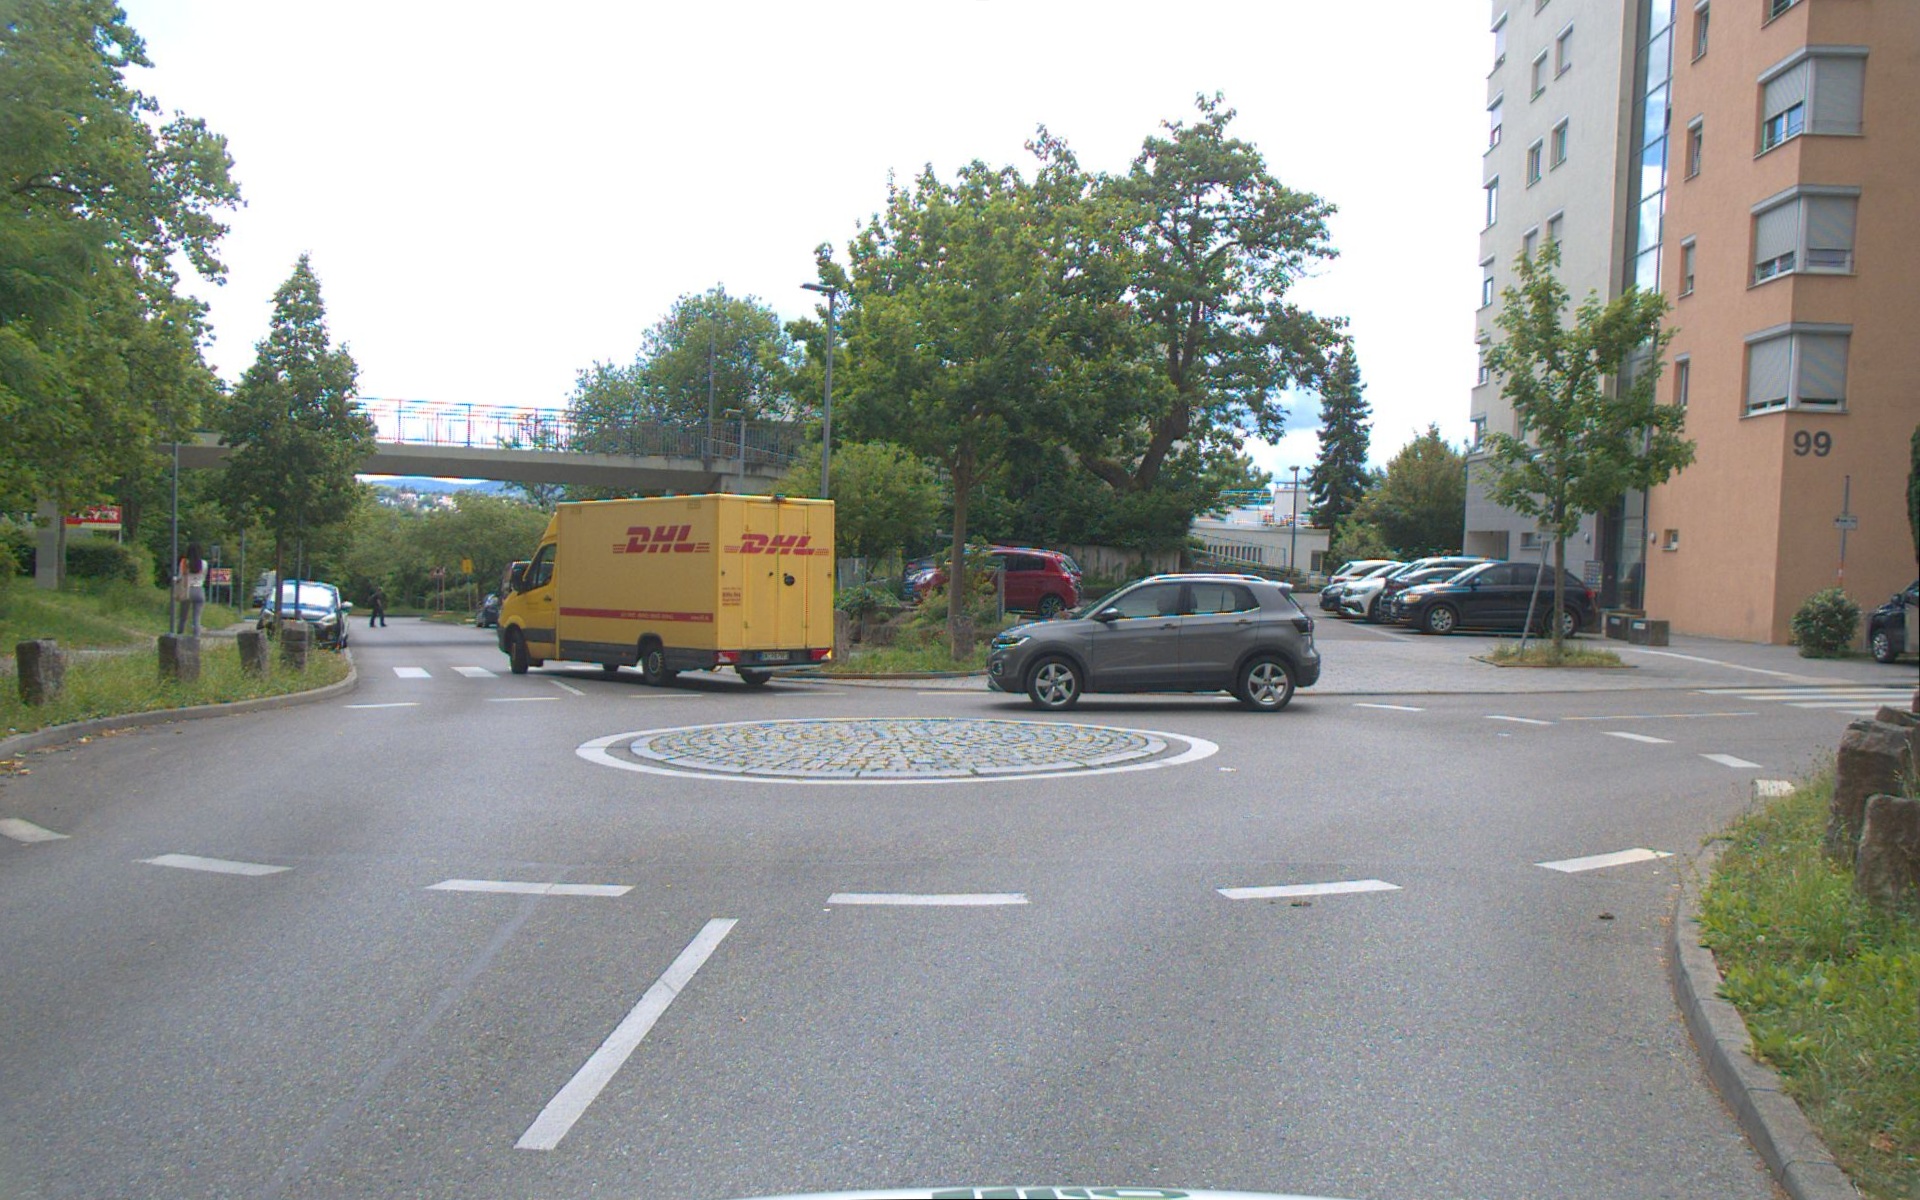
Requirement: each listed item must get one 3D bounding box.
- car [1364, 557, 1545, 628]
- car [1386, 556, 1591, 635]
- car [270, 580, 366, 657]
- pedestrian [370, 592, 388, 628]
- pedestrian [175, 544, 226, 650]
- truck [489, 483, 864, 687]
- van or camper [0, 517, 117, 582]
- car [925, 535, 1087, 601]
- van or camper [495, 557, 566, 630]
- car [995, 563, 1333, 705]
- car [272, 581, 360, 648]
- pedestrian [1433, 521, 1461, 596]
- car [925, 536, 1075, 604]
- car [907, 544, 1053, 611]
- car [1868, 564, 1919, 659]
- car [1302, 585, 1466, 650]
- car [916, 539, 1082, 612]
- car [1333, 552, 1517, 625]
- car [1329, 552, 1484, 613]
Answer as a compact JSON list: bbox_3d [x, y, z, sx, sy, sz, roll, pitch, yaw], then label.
[{"bbox_3d":[11.459,-0.183,38.515,3.746,1.484,1.694,2,1,6],"label":"car"},{"bbox_3d":[11.461,-0.107,36.107,3.955,1.544,1.757,2,1,6],"label":"car"},{"bbox_3d":[-13.879,0.365,35.648,1.762,1.493,3.972,2,1,-23],"label":"car"},{"bbox_3d":[-25.924,0.429,73.772,0.707,1.568,0.551,2,0,-23],"label":"pedestrian"},{"bbox_3d":[-12.838,-0.050,27.935,0.728,1.752,0.654,2,0,-26],"label":"pedestrian"},{"bbox_3d":[-4.578,-0.212,25.627,2.454,2.749,6.717,2,-1,-43],"label":"truck"},{"bbox_3d":[-32.339,-1.788,58.026,4.794,2.122,1.984,2,1,-26],"label":"van or camper"},{"bbox_3d":[1.276,-0.904,46.991,4.451,1.697,1.944,2,1,-1],"label":"car"},{"bbox_3d":[-16.147,-0.217,61.976,1.965,2.567,5.436,-1,0,-21],"label":"van or camper"},{"bbox_3d":[2.407,0.393,20.097,3.913,1.646,1.723,0,0,3],"label":"car"},{"bbox_3d":[-15.682,0.338,40.411,1.857,1.485,3.526,2,1,-20],"label":"car"},{"bbox_3d":[12.435,-1.057,42.236,0.469,1.885,0.506,2,0,-7],"label":"pedestrian"},{"bbox_3d":[1.039,-0.791,44.288,3.906,1.642,1.944,2,1,-1],"label":"car"},{"bbox_3d":[0.508,-0.570,41.856,3.574,1.524,1.685,2,1,1],"label":"car"},{"bbox_3d":[15.901,0.177,25.972,1.468,1.502,3.528,-1,1,3],"label":"car"},{"bbox_3d":[11.121,0.435,43.584,3.955,1.544,1.757,2,1,6],"label":"car"},{"bbox_3d":[0.866,-0.546,36.913,3.574,1.464,1.685,2,1,1],"label":"car"},{"bbox_3d":[11.455,-0.292,40.937,4.035,1.621,1.692,2,1,-1],"label":"car"},{"bbox_3d":[12.279,-0.487,45.658,3.896,1.544,1.758,2,1,7],"label":"car"}]
